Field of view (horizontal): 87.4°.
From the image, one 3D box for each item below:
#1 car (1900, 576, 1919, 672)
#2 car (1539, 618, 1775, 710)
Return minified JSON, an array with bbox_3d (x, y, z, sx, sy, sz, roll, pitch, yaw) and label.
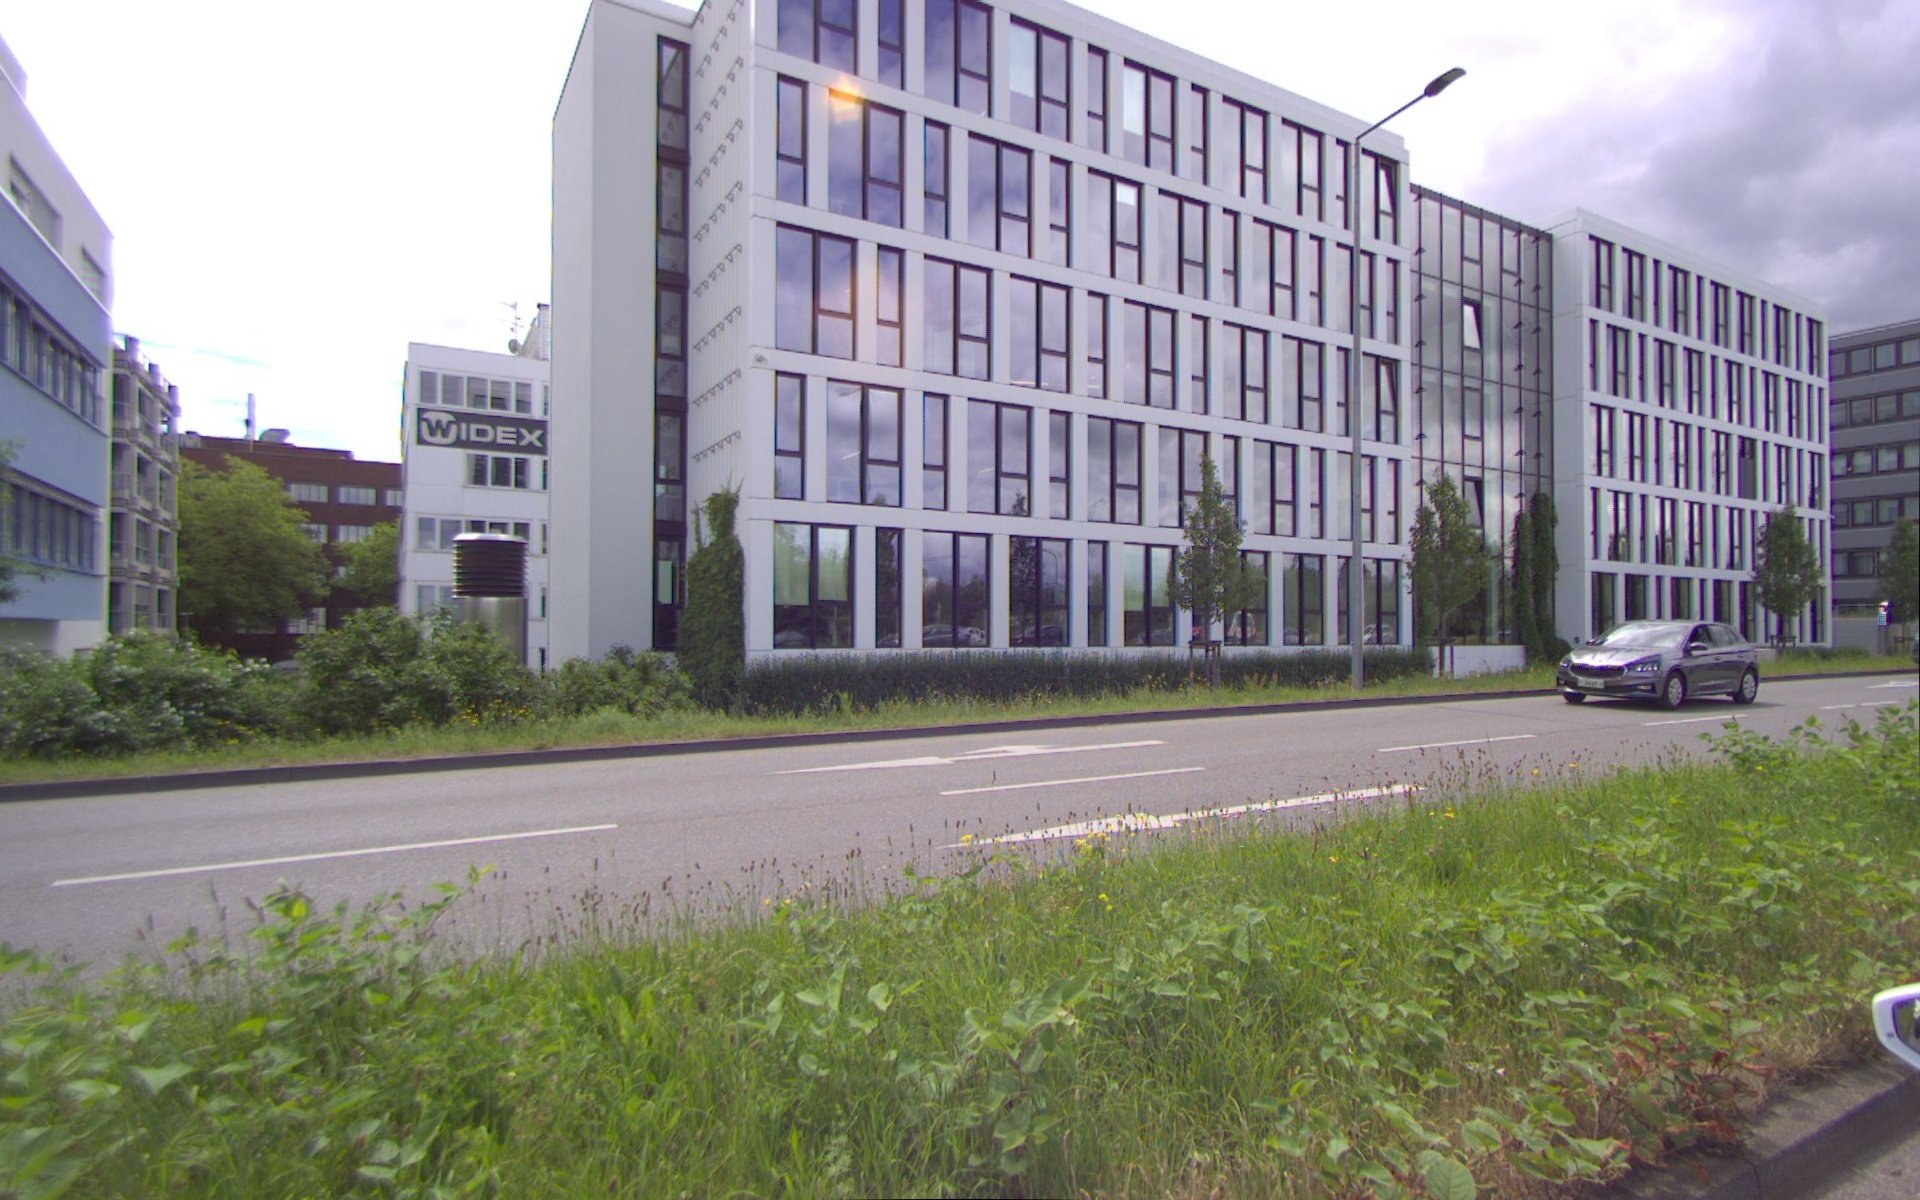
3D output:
[{"bbox_3d":[26.876,0.634,25.859,5.166,2.444,1.989,1,-1,-23],"label":"car"},{"bbox_3d":[12.192,1.036,17.549,3.953,1.416,1.923,1,-1,-30],"label":"car"}]
